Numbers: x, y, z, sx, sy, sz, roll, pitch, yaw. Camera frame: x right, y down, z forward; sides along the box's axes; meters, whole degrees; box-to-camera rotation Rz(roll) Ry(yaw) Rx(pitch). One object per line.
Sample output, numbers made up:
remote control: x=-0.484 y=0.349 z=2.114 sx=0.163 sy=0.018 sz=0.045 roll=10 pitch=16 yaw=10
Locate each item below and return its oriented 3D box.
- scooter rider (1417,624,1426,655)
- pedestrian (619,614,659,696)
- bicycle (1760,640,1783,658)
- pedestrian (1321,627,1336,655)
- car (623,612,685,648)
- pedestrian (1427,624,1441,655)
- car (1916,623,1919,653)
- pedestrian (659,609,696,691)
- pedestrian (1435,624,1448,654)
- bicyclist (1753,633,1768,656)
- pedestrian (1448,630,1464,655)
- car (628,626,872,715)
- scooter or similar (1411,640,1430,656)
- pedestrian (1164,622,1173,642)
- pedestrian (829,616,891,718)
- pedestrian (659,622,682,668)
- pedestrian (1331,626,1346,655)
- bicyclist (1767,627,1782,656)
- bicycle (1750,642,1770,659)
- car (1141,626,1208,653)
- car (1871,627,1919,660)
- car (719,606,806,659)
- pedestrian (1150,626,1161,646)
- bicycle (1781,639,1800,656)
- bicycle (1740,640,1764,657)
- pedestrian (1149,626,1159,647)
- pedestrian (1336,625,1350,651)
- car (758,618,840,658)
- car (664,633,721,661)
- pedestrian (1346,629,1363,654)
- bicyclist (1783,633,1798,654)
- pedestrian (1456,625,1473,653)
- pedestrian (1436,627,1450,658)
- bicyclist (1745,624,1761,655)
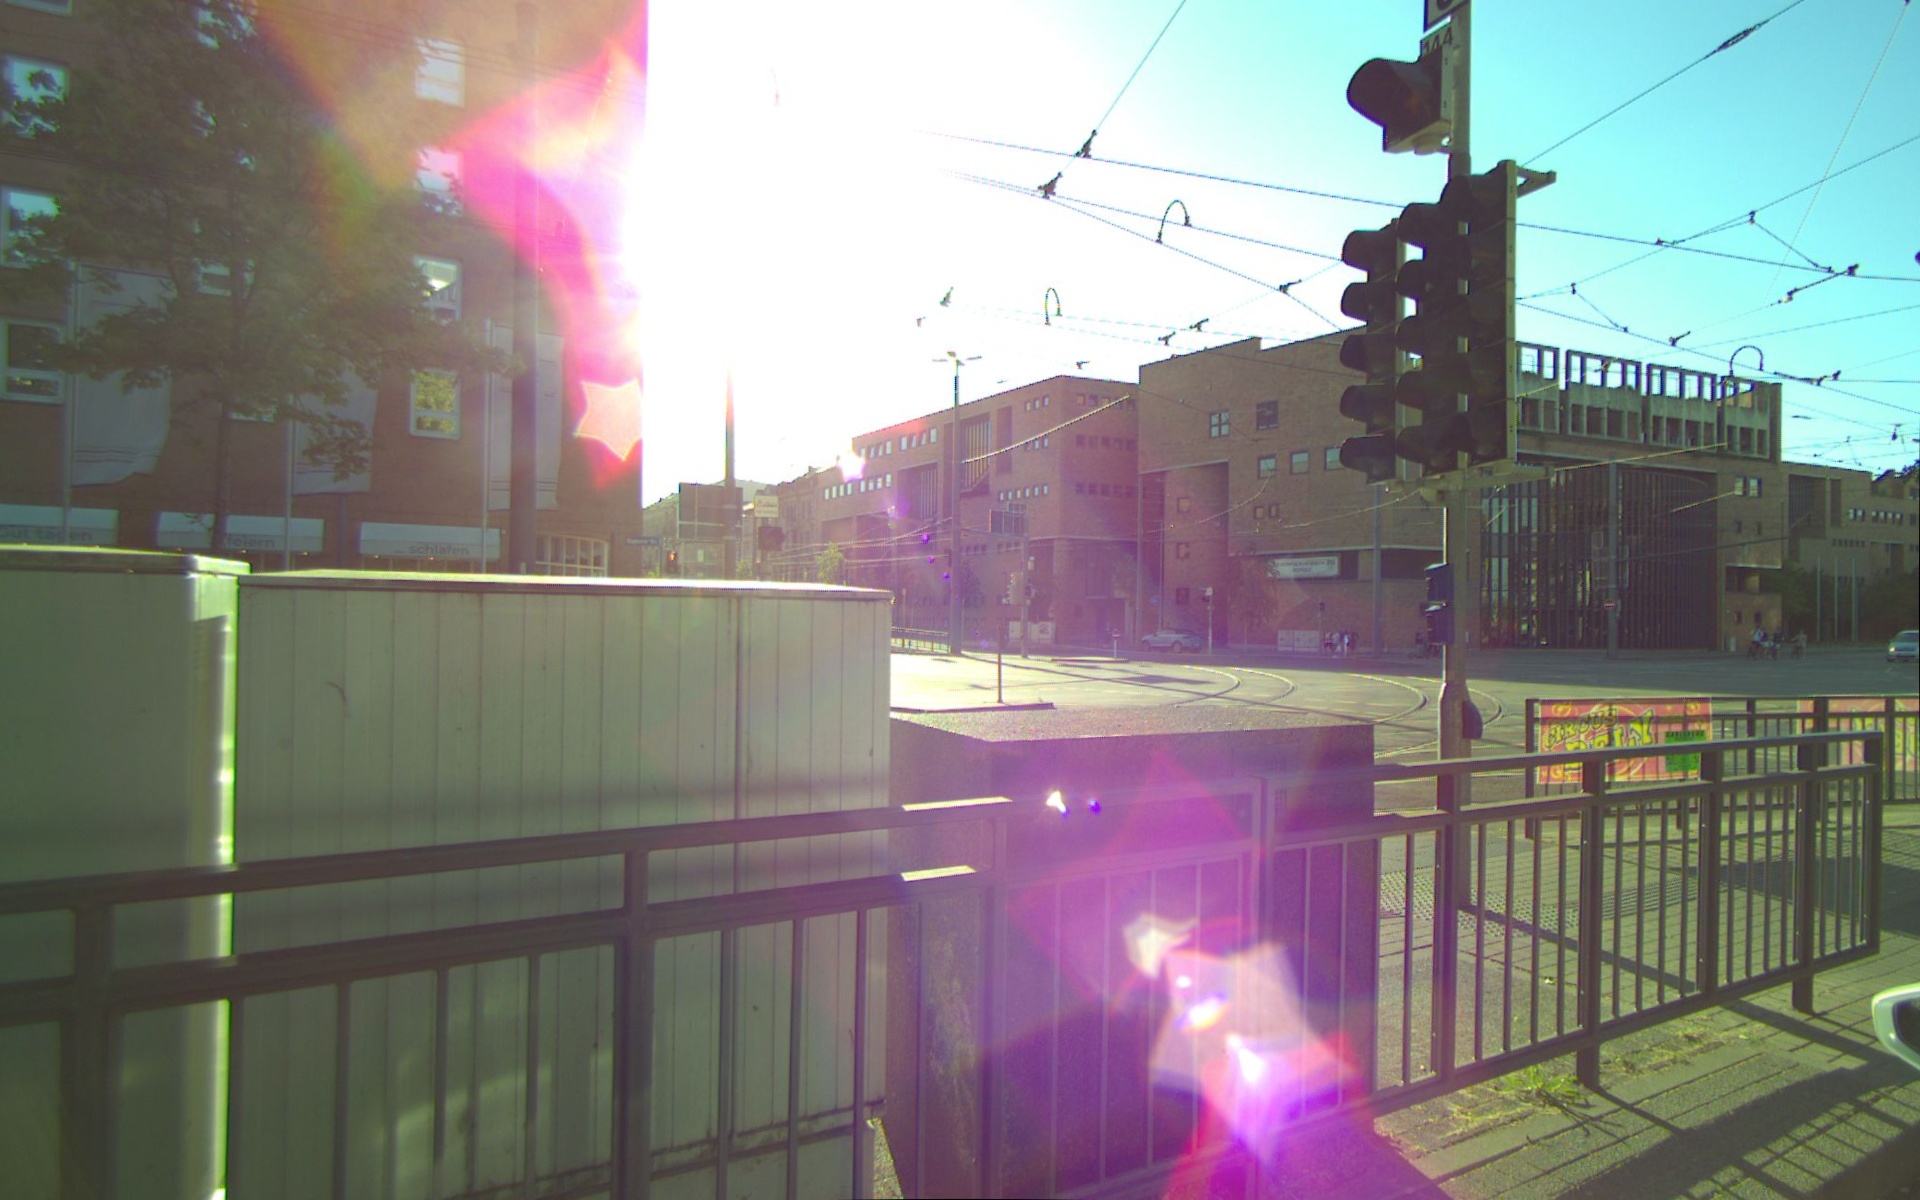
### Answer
scooter rider: x=25.427 y=2.165 z=55.379 sx=0.429 sy=1.669 sz=0.229 roll=0 pitch=-1 yaw=15
pedestrian: x=-7.440 y=1.256 z=23.279 sx=0.713 sy=1.837 sz=0.904 roll=1 pitch=-1 yaw=-28
bicycle: x=44.903 y=2.724 z=55.607 sx=1.557 sy=0.976 sz=0.470 roll=1 pitch=-1 yaw=-30
pedestrian: x=21.453 y=2.377 z=58.457 sx=0.582 sy=1.635 sz=0.593 roll=1 pitch=-1 yaw=-31
car: x=-18.805 y=1.818 z=61.592 sx=1.982 sy=2.122 sz=5.156 roll=1 pitch=-2 yaw=-38
pedestrian: x=26.986 y=2.251 z=57.196 sx=0.609 sy=1.706 sz=0.651 roll=0 pitch=-1 yaw=16
car: x=55.253 y=2.111 z=55.897 sx=3.954 sy=1.661 sz=1.983 roll=1 pitch=-2 yaw=-31
pedestrian: x=-6.621 y=1.156 z=23.541 sx=0.647 sy=1.864 sz=0.835 roll=1 pitch=-1 yaw=-28
pedestrian: x=28.039 y=2.275 z=58.456 sx=0.538 sy=1.706 sz=0.574 roll=0 pitch=-1 yaw=8
bicyclist: x=46.704 y=2.611 z=58.592 sx=0.574 sy=1.321 sz=0.503 roll=1 pitch=-1 yaw=-30
pedestrian: x=28.182 y=2.400 z=57.063 sx=0.588 sy=1.440 sz=0.642 roll=0 pitch=-1 yaw=-3
car: x=-3.922 y=1.259 z=18.786 sx=4.246 sy=1.508 sz=1.752 roll=1 pitch=-1 yaw=-22
scooter or similar: x=25.379 y=2.642 z=55.377 sx=0.931 sy=0.911 sz=0.176 roll=0 pitch=-1 yaw=14
pedestrian: x=15.347 y=2.372 z=74.001 sx=0.549 sy=1.445 sz=0.556 roll=0 pitch=-1 yaw=1
pedestrian: x=-1.705 y=1.120 z=17.079 sx=0.709 sy=1.669 sz=0.953 roll=1 pitch=-1 yaw=-30
pedestrian: x=-10.570 y=1.633 z=36.664 sx=0.658 sy=1.669 sz=0.638 roll=1 pitch=-1 yaw=-34
pedestrian: x=21.690 y=2.330 z=57.549 sx=0.543 sy=1.670 sz=0.596 roll=1 pitch=-1 yaw=-30
bicyclist: x=45.114 y=2.302 z=55.617 sx=0.574 sy=1.624 sz=0.456 roll=1 pitch=-1 yaw=-30
bicycle: x=46.683 y=2.921 z=58.585 sx=1.304 sy=0.976 sz=0.465 roll=1 pitch=-1 yaw=-30
car: x=13.079 y=2.389 z=61.372 sx=1.985 sy=1.595 sz=3.682 roll=1 pitch=-2 yaw=-37
car: x=48.984 y=2.225 z=51.783 sx=3.954 sy=1.661 sz=1.983 roll=1 pitch=-2 yaw=-31
car: x=-9.531 y=1.525 z=48.055 sx=1.982 sy=2.419 sz=5.156 roll=1 pitch=-2 yaw=-38
pedestrian: x=14.473 y=2.664 z=74.384 sx=0.528 sy=1.482 sz=0.586 roll=1 pitch=-1 yaw=-31
bicycle: x=49.142 y=2.790 z=59.424 sx=1.332 sy=0.976 sz=0.449 roll=1 pitch=-1 yaw=-30
bicycle: x=44.472 y=2.721 z=56.386 sx=1.568 sy=0.976 sz=0.539 roll=1 pitch=-1 yaw=-30
pedestrian: x=13.989 y=2.645 z=72.405 sx=0.463 sy=1.482 sz=0.505 roll=1 pitch=-1 yaw=-37
pedestrian: x=22.298 y=2.222 z=58.427 sx=0.611 sy=1.473 sz=0.562 roll=2 pitch=-2 yaw=-45
car: x=-8.341 y=1.913 z=51.704 sx=1.982 sy=1.928 sz=5.156 roll=1 pitch=-2 yaw=-38
car: x=-14.410 y=2.500 z=53.994 sx=1.729 sy=1.372 sz=3.960 roll=1 pitch=-2 yaw=-36
pedestrian: x=22.256 y=2.342 z=56.705 sx=0.670 sy=1.357 sz=0.603 roll=1 pitch=-1 yaw=-14
bicyclist: x=49.134 y=2.561 z=59.424 sx=0.574 sy=1.194 sz=0.503 roll=1 pitch=-1 yaw=-30
pedestrian: x=29.048 y=2.239 z=57.826 sx=0.607 sy=1.647 sz=0.611 roll=1 pitch=-1 yaw=-13
pedestrian: x=26.902 y=2.339 z=55.943 sx=0.540 sy=1.706 sz=0.592 roll=0 pitch=-1 yaw=4
bicyclist: x=44.506 y=2.213 z=56.402 sx=0.574 sy=1.754 sz=0.534 roll=1 pitch=-1 yaw=-30
